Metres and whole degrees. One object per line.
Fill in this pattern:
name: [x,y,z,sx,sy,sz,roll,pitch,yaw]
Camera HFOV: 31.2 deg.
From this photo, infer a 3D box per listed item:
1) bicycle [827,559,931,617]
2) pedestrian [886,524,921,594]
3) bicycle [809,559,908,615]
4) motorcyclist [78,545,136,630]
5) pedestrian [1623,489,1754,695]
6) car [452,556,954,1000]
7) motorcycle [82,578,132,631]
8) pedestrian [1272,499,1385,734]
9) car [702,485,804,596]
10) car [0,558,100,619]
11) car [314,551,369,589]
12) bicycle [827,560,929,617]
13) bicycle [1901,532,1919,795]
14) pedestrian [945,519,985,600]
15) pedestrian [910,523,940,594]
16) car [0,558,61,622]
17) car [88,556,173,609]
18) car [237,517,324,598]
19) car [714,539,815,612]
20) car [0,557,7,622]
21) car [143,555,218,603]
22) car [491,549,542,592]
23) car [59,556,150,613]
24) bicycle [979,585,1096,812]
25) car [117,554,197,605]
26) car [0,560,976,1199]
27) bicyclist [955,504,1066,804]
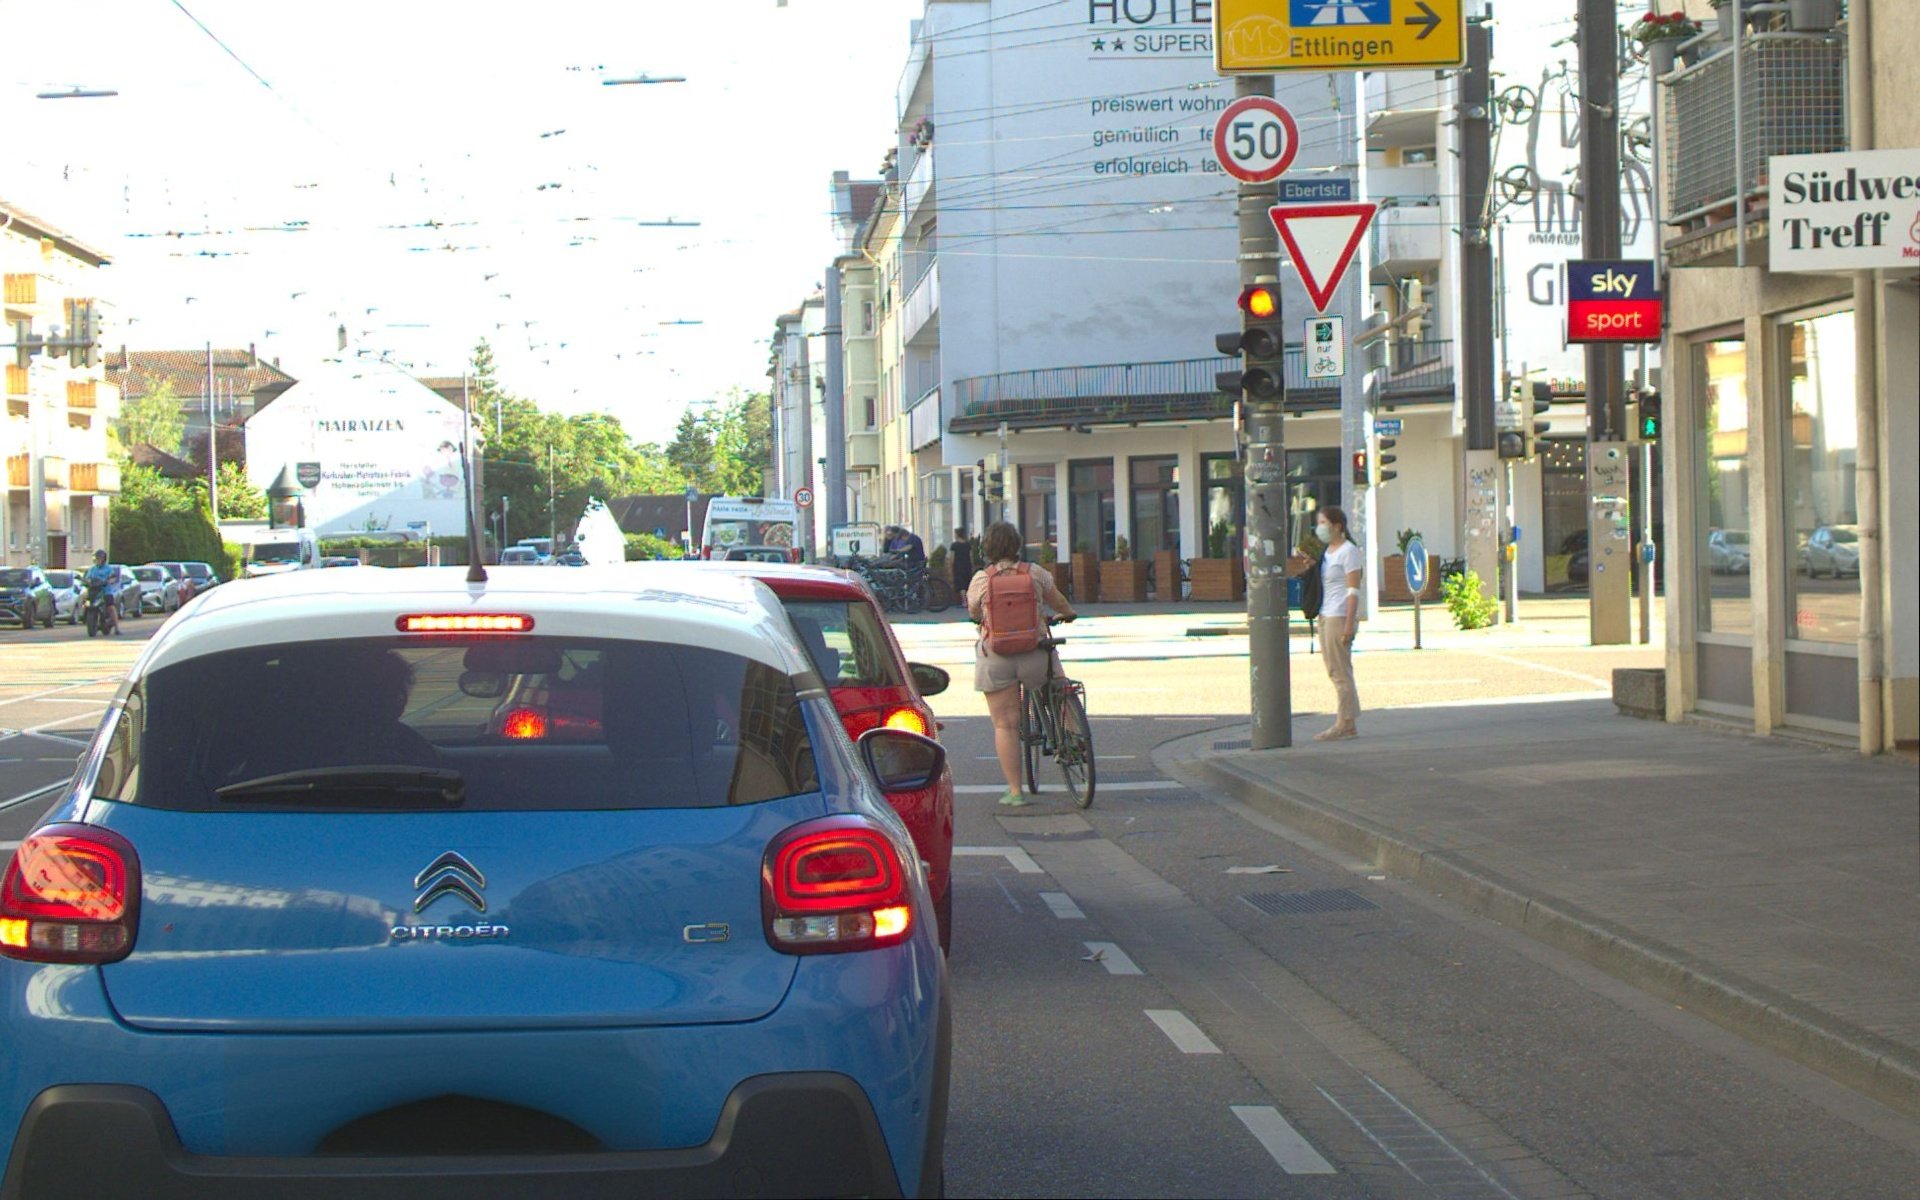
bicycle: [-1.556,-0.239,65.823,1.904,1.061,0.642,-1,1,-7]
pedestrian: [-1.151,-0.842,70.267,0.525,1.415,0.546,-1,1,20]
bicycle: [-2.024,-0.271,68.321,1.904,1.061,0.642,-1,1,-7]
motorcyclist: [-16.672,-0.250,67.221,0.991,1.625,0.739,-1,1,-9]
pedestrian: [5.935,-0.069,28.032,0.700,1.642,0.740,-2,1,-36]
car: [-1.003,0.577,13.593,1.680,1.457,4.001,0,1,-4]
motorcycle: [-16.692,0.075,67.295,0.751,0.973,2.098,-1,1,-9]
pedestrian: [2.610,0.108,24.383,0.751,1.629,0.740,-1,1,6]
car: [-4.430,-1.274,73.249,2.079,2.262,5.652,0,1,-4]
car: [-24.304,-0.333,91.955,1.950,1.514,4.001,-1,1,-6]
car: [-25.975,-1.274,144.577,1.950,1.514,4.001,-1,1,-6]
bicycle: [-1.605,-0.233,67.129,1.904,1.061,0.642,-1,1,-7]
bicycle: [4.917,0.314,15.761,0.640,1.260,1.911,-1,1,-1]
pedestrian: [0.104,-0.827,70.192,0.553,1.642,0.538,-2,1,-44]
pedestrian: [-0.718,-0.844,70.015,0.467,1.415,0.527,-1,1,-13]
car: [-23.784,-0.265,85.898,1.950,1.514,4.001,-1,1,-6]
car: [-24.924,-0.538,103.386,1.950,1.514,4.001,-1,1,-6]
car: [-23.660,-1.499,119.944,2.493,2.703,5.839,-1,1,-7]
car: [-3.880,-0.512,67.813,1.786,1.354,3.915,-1,1,-6]
car: [-23.319,-0.192,79.233,1.950,1.514,4.001,-1,1,-6]
car: [-26.067,-0.717,115.007,1.950,1.514,4.001,-1,1,-6]
car: [-22.044,-1.492,170.849,2.338,2.032,5.051,-1,1,-6]
car: [-24.457,-0.455,98.382,1.950,1.514,4.001,-1,1,-6]
bicycle: [0.450,0.560,20.650,0.613,1.260,1.911,-1,1,-1]
car: [-25.357,-0.669,108.665,1.950,1.514,4.001,-1,1,-6]
car: [-0.956,0.669,7.383,1.680,1.457,4.001,0,1,-4]
bicyclist: [0.293,0.304,20.608,0.600,1.740,1.084,-1,1,-1]
